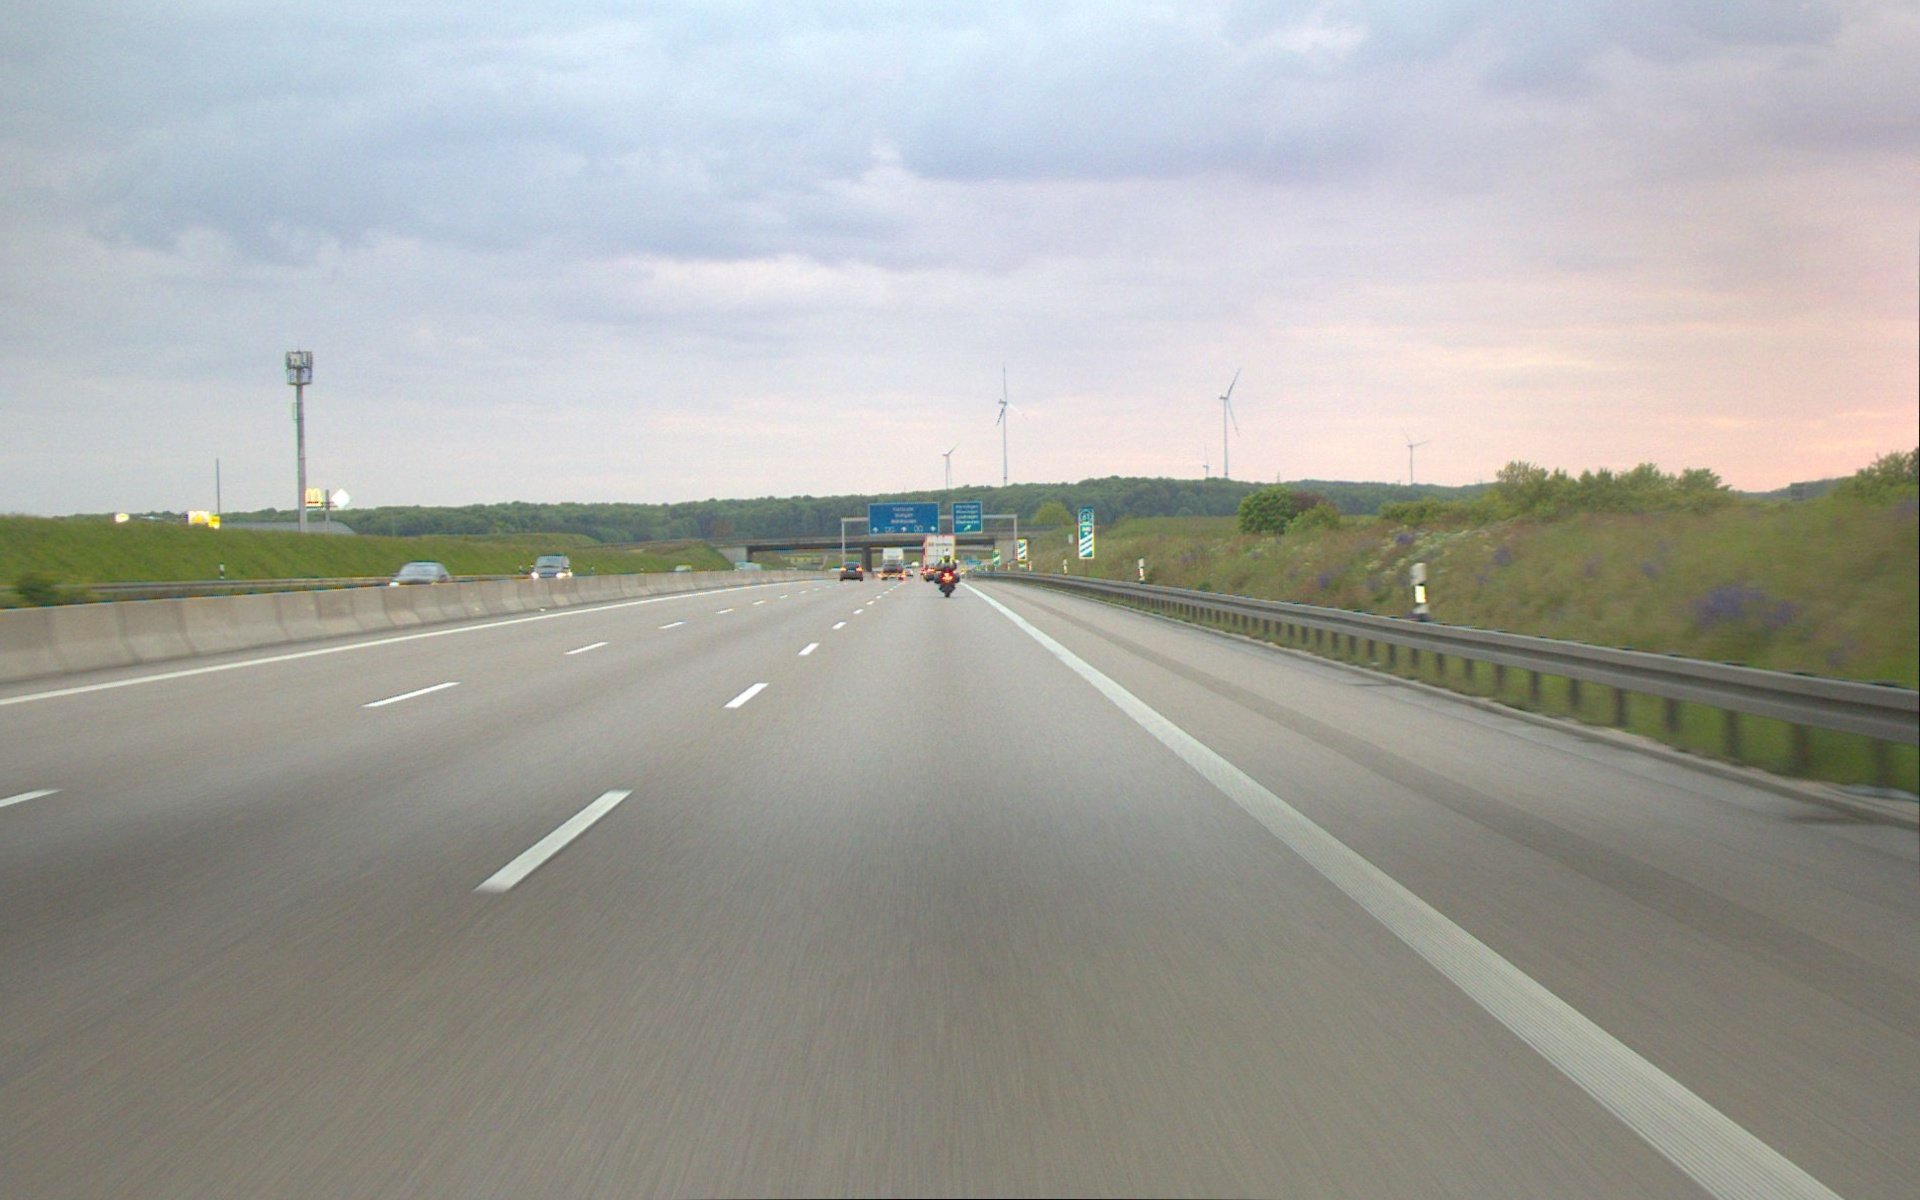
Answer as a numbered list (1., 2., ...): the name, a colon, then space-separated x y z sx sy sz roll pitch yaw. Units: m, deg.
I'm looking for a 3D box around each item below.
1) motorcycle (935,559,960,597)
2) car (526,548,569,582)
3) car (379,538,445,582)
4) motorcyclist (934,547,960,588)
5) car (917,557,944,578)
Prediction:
1. motorcycle: -0.464 -0.818 125.433 0.902 1.342 2.349 0 1 0
2. car: -24.380 -2.091 203.490 1.993 1.930 5.090 1 1 -1
3. car: -20.951 -1.541 131.496 1.824 1.657 4.651 1 1 -1
4. motorcyclist: -0.471 -1.191 125.174 0.866 1.482 1.168 1 1 1
5. car: -2.234 -2.466 258.868 1.918 1.574 4.000 0 1 -1
